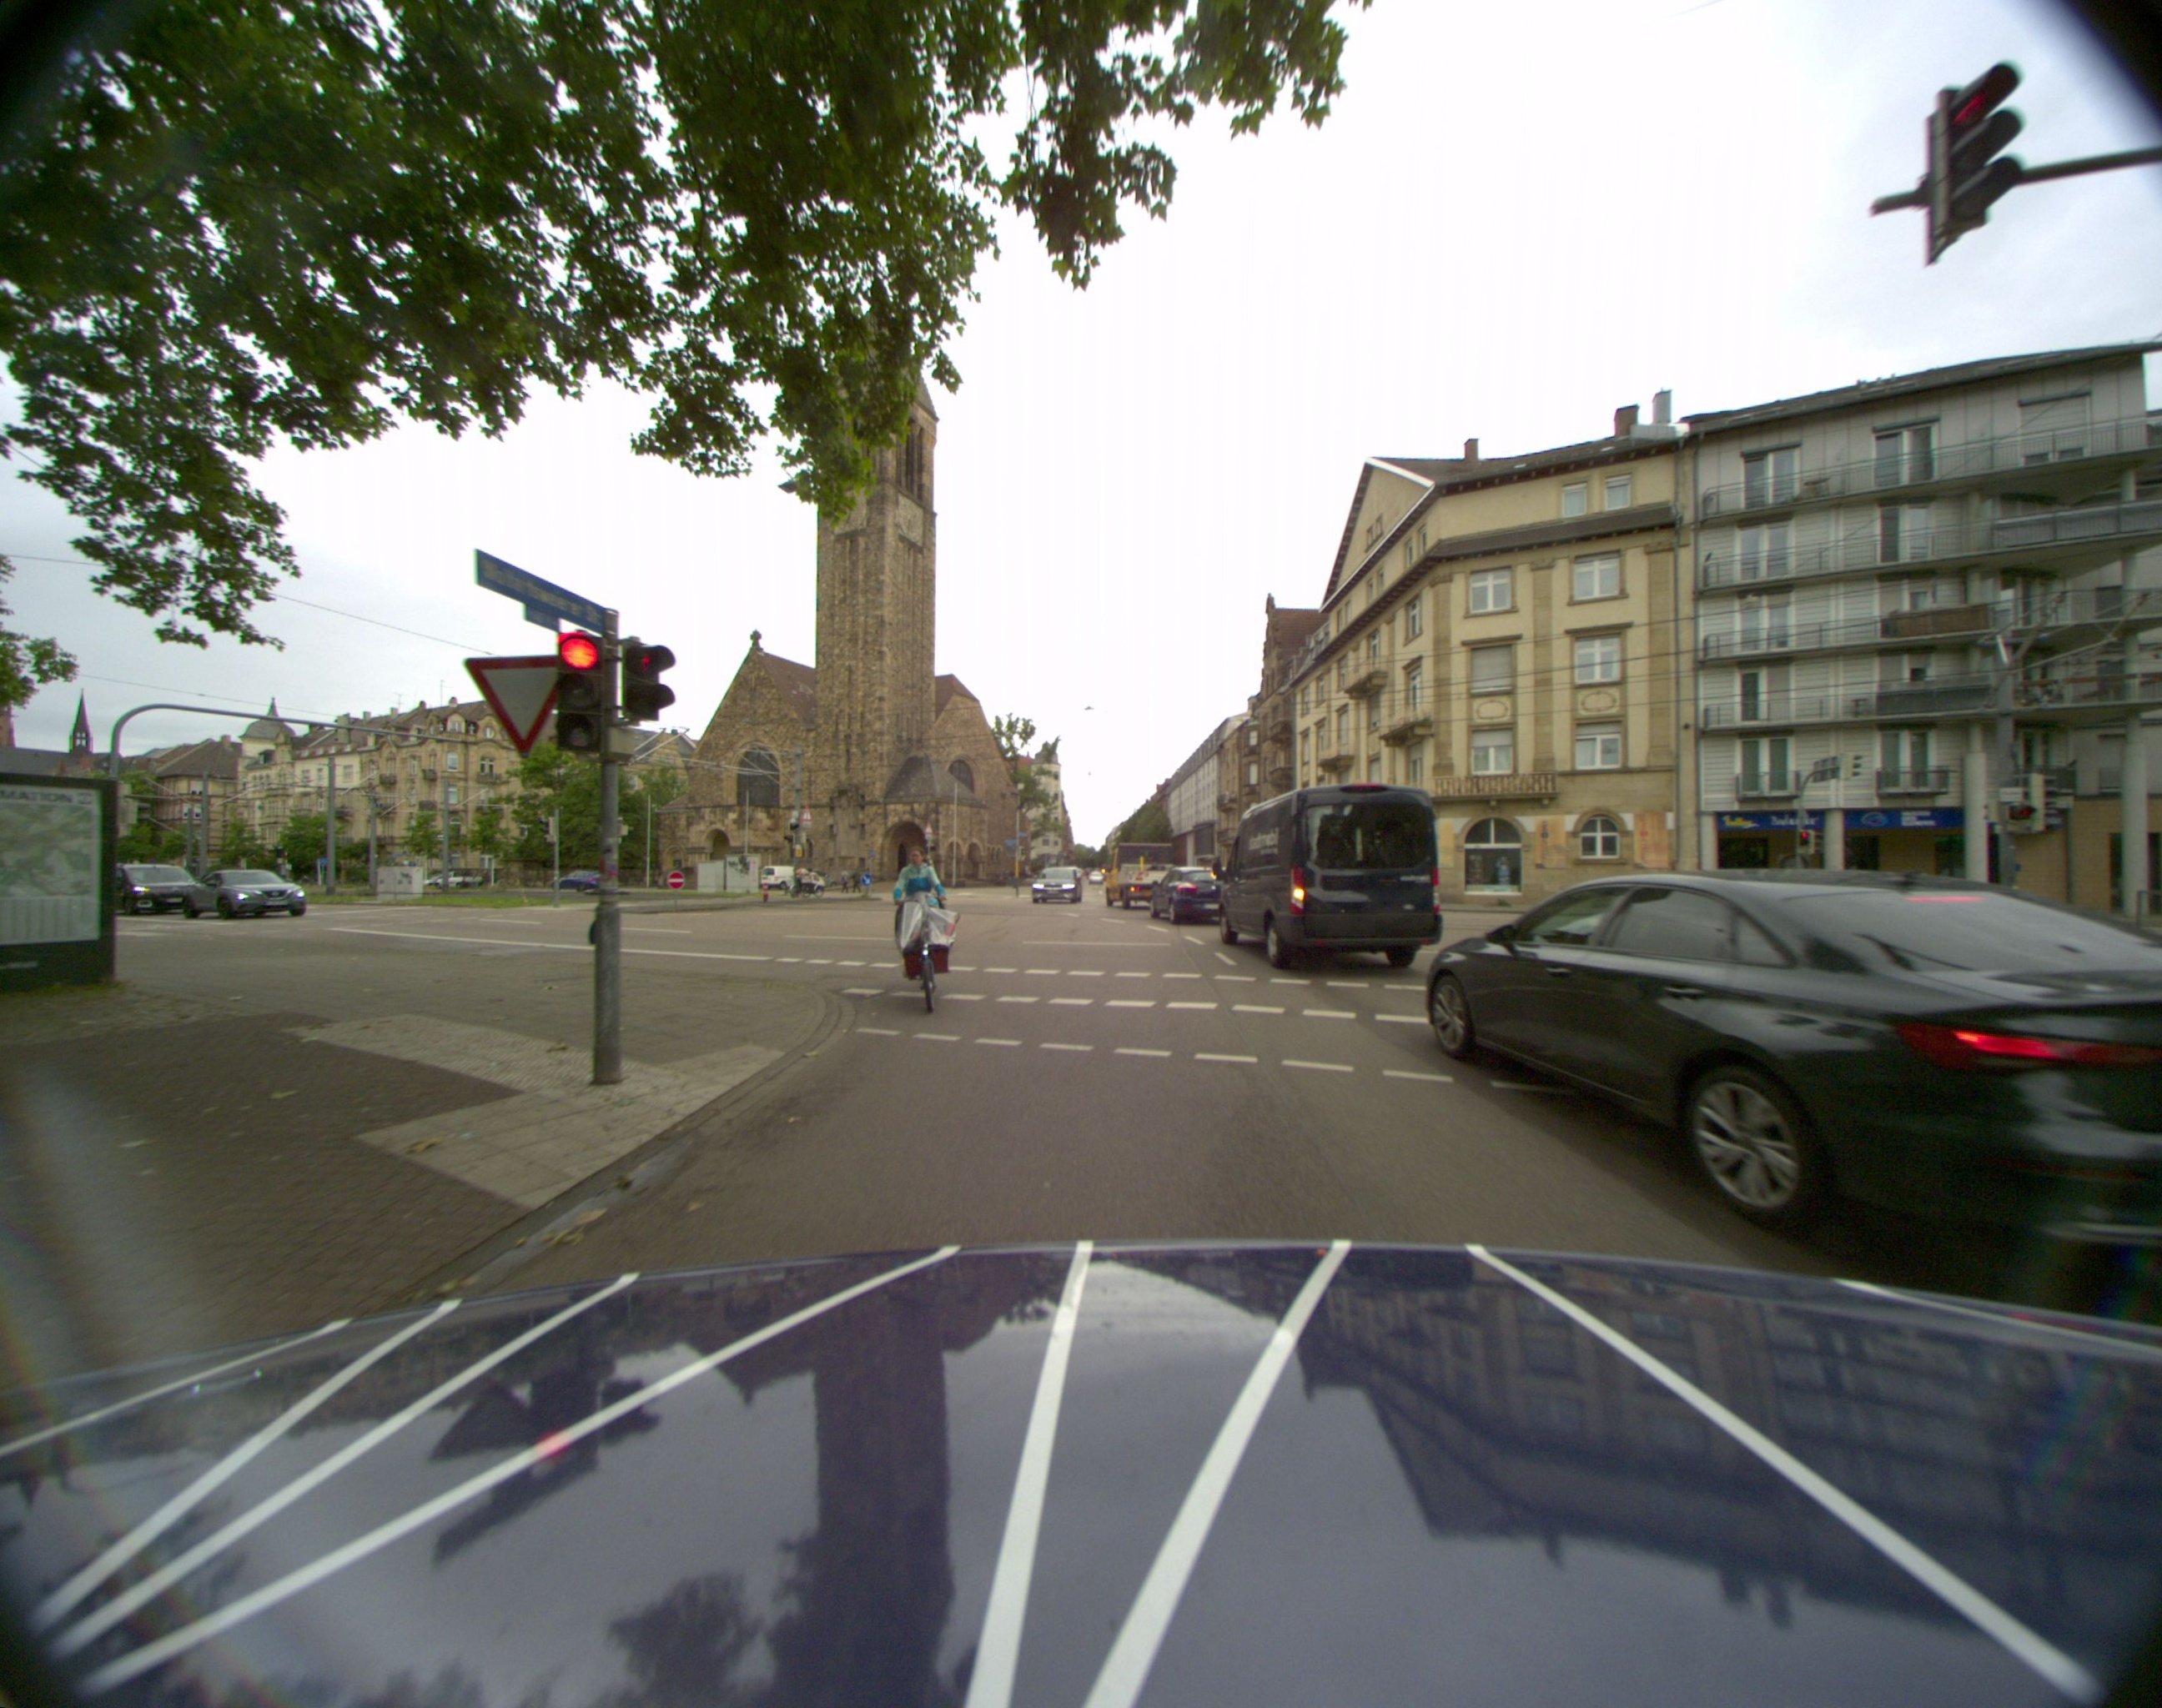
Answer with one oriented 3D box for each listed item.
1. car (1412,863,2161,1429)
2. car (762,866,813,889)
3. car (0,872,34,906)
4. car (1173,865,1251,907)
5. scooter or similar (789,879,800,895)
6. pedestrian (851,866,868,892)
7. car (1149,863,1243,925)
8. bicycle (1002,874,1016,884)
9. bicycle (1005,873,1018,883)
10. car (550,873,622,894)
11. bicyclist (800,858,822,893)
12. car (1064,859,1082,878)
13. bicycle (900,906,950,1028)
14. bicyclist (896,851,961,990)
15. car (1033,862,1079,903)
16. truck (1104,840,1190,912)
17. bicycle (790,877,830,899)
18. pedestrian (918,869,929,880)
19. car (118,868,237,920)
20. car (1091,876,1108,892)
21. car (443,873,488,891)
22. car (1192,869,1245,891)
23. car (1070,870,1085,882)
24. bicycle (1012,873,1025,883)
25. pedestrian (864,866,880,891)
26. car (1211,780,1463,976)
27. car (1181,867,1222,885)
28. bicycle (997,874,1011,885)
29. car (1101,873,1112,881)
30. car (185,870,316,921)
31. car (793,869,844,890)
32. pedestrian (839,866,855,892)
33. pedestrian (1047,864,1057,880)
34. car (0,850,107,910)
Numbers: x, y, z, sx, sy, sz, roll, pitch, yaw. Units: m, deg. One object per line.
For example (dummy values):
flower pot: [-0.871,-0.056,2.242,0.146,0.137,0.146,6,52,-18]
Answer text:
car: [3.584,0.777,4.060,1.813,1.419,4.318,0,-1,1]
car: [-22.815,1.799,59.170,1.683,1.782,3.474,0,-1,27]
car: [-52.141,1.648,36.272,4.139,1.521,1.690,0,-1,24]
car: [5.003,1.196,29.536,1.738,1.515,3.997,0,-1,-10]
scooter or similar: [-19.256,2.194,51.117,0.771,1.047,0.240,0,-1,26]
pedestrian: [-15.235,1.701,52.225,0.806,1.748,0.969,2,-1,1]
car: [2.937,1.000,20.230,1.671,1.480,3.904,0,-1,-4]
bicycle: [-7.382,2.578,77.998,1.380,1.053,0.311,0,-1,23]
bicycle: [-7.183,2.500,78.597,1.380,1.053,0.311,0,-1,23]
car: [-33.940,1.975,52.098,4.310,1.397,1.824,0,-1,18]
bicyclist: [-12.915,1.011,36.362,0.614,1.644,0.755,0,-1,22]
car: [-0.860,1.519,79.896,1.810,1.908,5.165,0,-1,0]
bicycle: [-1.835,1.216,8.780,0.495,1.092,2.136,0,0,-14]
bicyclist: [-1.796,0.735,8.865,0.688,1.508,1.057,0,-1,-14]
car: [-1.061,1.232,33.593,1.820,1.675,4.001,0,-1,1]
truck: [2.293,0.805,28.098,2.081,2.393,5.460,1,-1,-7]
bicycle: [-12.945,1.611,36.362,0.551,0.989,2.065,0,-1,23]
pedestrian: [-13.218,1.694,63.637,0.672,0.945,0.616,0,-1,23]
car: [-32.117,1.367,27.020,3.940,1.701,1.690,0,-1,24]
car: [2.147,3.521,89.447,1.832,1.761,4.000,0,-1,0]
car: [-53.971,2.466,66.614,3.459,1.521,1.690,0,-1,24]
car: [11.488,2.174,63.499,4.005,1.713,1.837,-1,-1,-24]
car: [-0.435,2.931,99.879,1.820,1.556,4.001,0,-1,1]
bicycle: [-6.580,2.524,79.895,1.340,1.139,0.311,0,-1,23]
pedestrian: [-14.045,1.635,51.058,0.676,1.675,0.969,2,-1,1]
car: [3.657,0.354,12.231,2.139,2.436,5.580,0,-1,-1]
car: [11.991,2.188,75.702,4.007,1.544,1.699,-2,-1,-37]
bicycle: [-7.858,2.610,77.429,1.380,1.053,0.311,0,-1,23]
car: [4.320,3.845,127.903,1.653,1.438,3.511,0,-1,0]
car: [-26.981,1.297,24.688,3.979,1.552,1.690,0,-1,24]
car: [-19.824,1.886,57.505,1.614,1.521,3.474,0,-1,27]
pedestrian: [-15.723,1.679,51.123,0.634,1.663,0.970,2,-1,8]
pedestrian: [-3.339,2.119,87.761,0.814,1.798,1.021,0,1,22]
car: [-45.936,1.110,33.757,5.597,2.523,1.996,0,-1,24]
